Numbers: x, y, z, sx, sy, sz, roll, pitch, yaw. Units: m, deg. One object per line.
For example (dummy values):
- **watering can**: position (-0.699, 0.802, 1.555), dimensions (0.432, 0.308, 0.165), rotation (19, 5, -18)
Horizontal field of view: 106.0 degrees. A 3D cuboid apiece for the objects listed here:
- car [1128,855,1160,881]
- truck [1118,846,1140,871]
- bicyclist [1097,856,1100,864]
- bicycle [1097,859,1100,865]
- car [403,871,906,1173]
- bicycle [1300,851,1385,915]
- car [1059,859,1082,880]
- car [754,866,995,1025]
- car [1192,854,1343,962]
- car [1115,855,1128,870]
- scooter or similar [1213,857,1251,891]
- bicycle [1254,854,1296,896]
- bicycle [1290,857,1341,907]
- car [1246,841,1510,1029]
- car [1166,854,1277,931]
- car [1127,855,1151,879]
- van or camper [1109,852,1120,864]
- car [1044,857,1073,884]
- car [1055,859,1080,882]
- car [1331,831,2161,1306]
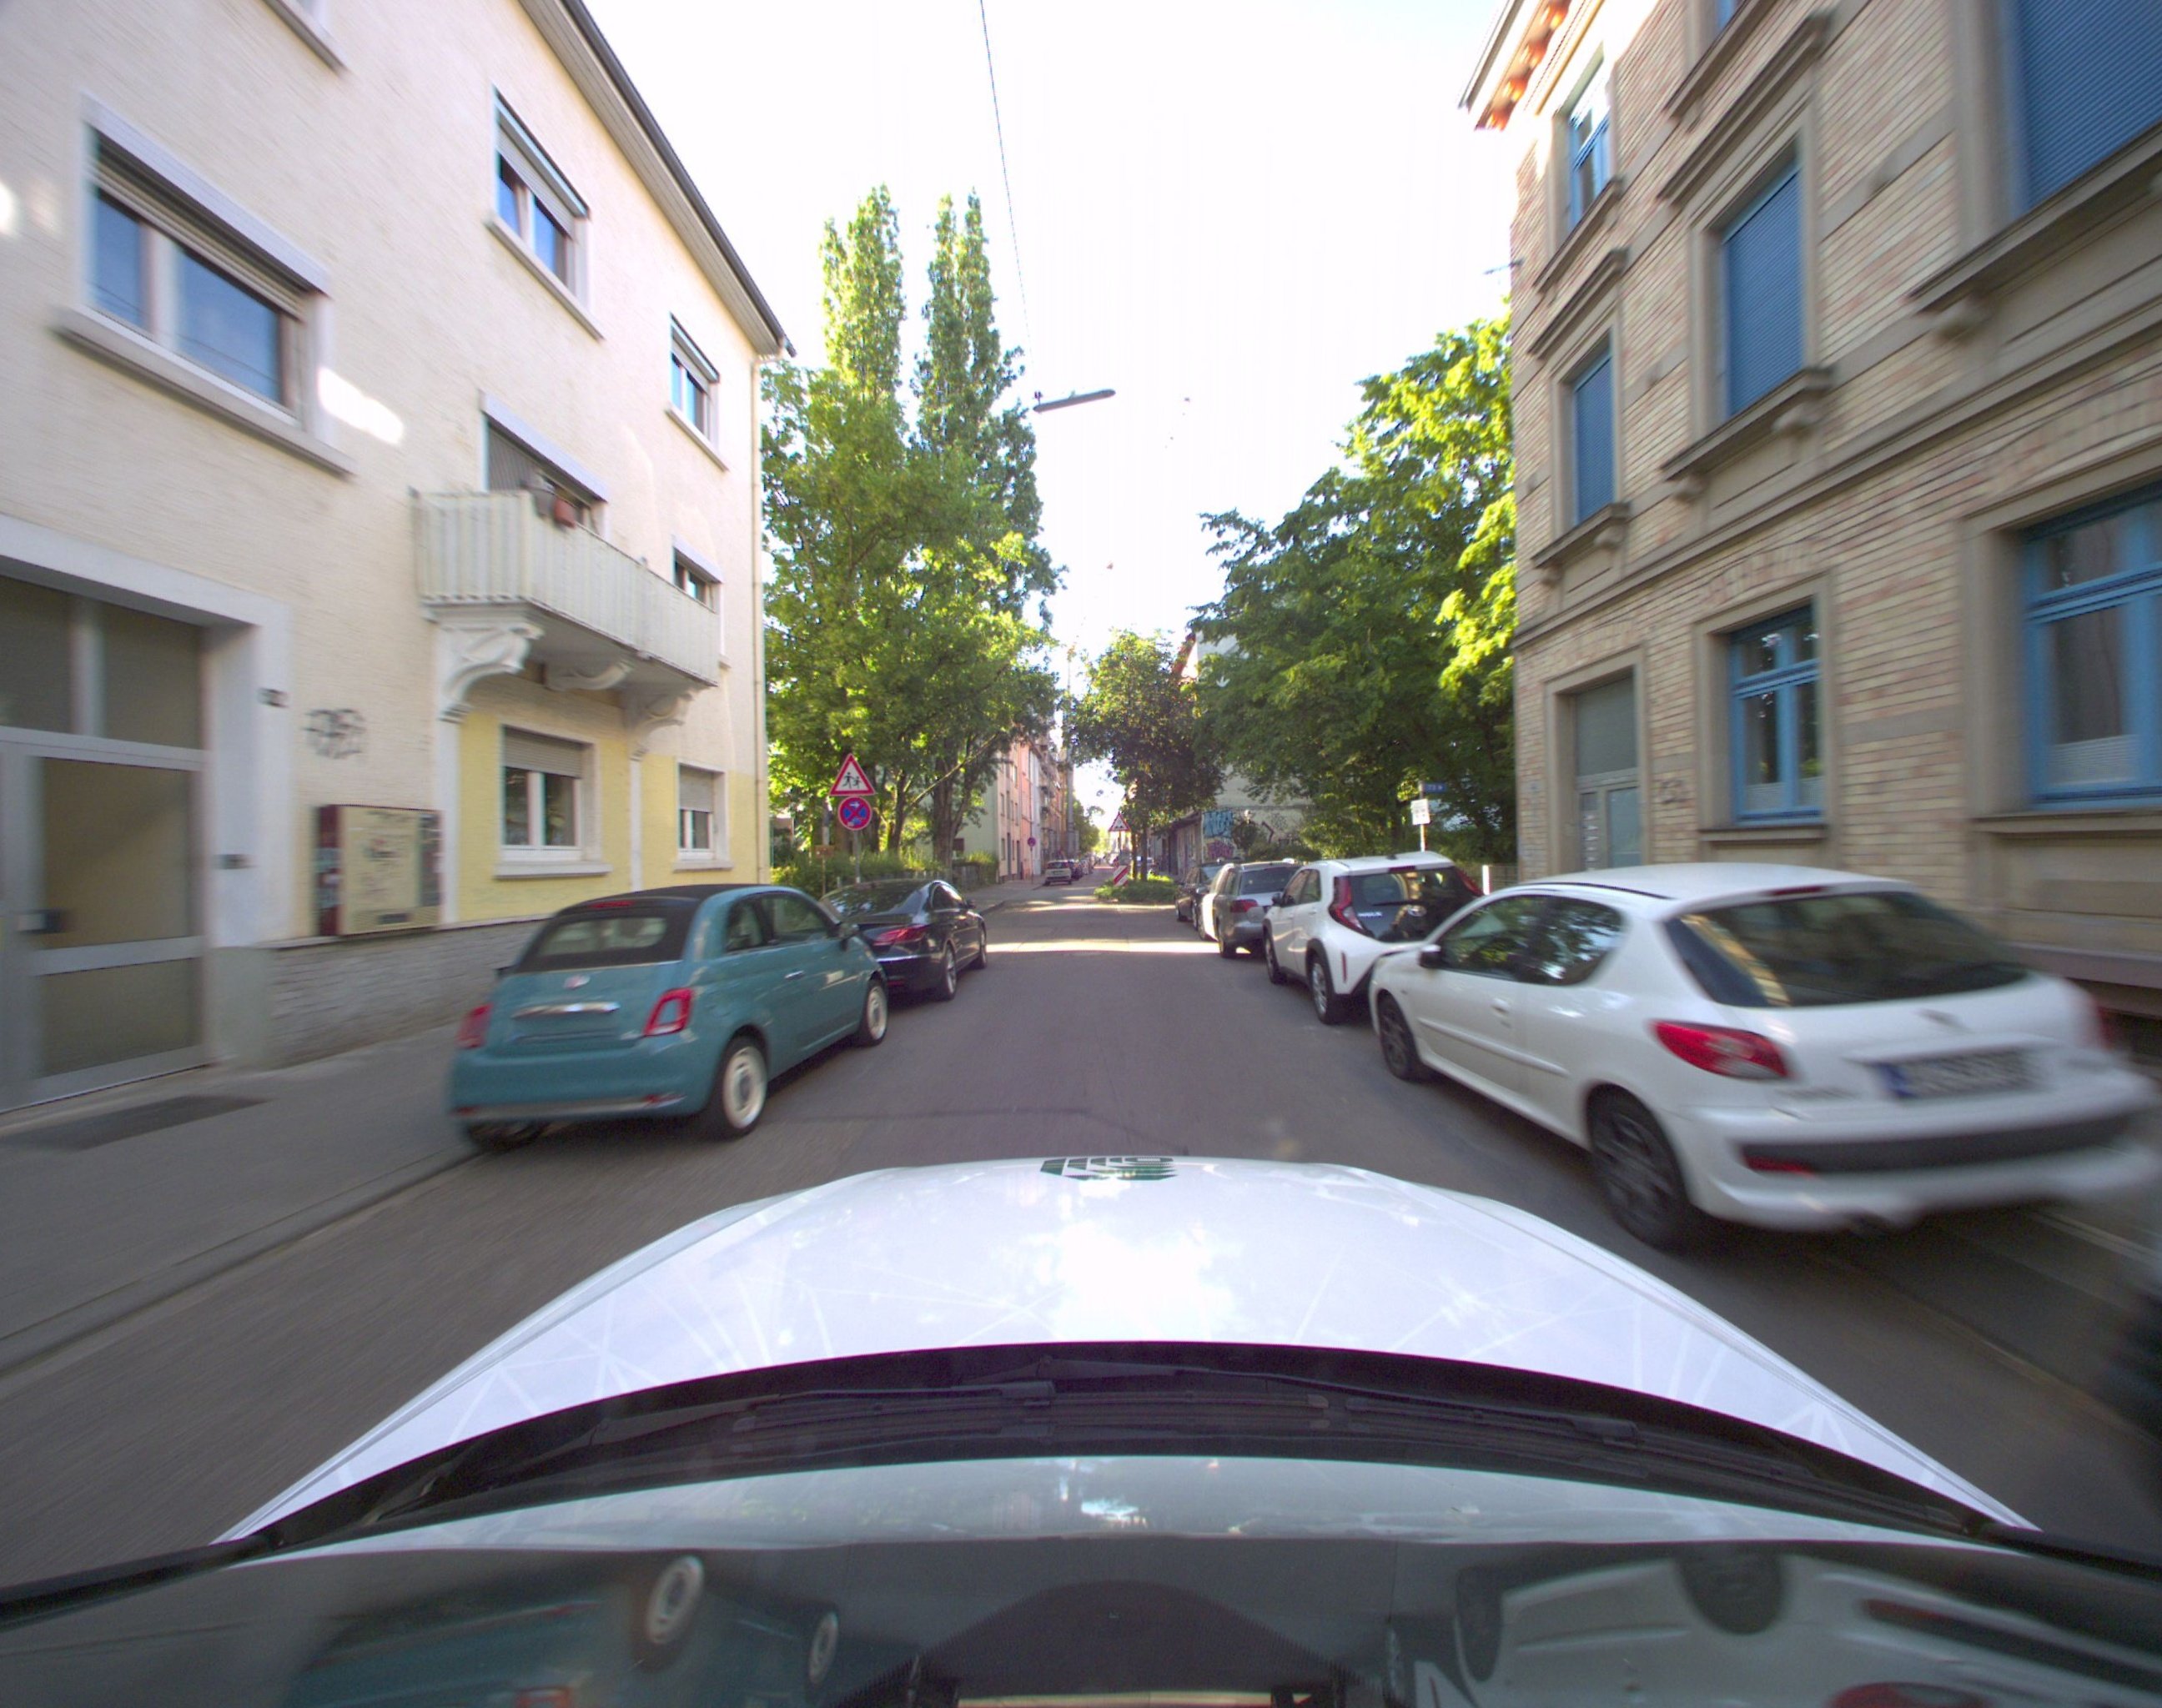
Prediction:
- **car**: position (4.052, 0.888, 53.017), dimensions (1.715, 1.562, 4.398), rotation (-2, -1, 0)
- **truck**: position (5.393, 0.479, 92.328), dimensions (2.182, 2.607, 5.234), rotation (-3, 0, 0)
- **bicyclist**: position (3.887, 1.428, 183.537), dimensions (0.727, 1.761, 0.836), rotation (-1, 0, 2)
- **bicycle**: position (3.885, 1.833, 183.387), dimensions (0.722, 1.186, 2.043), rotation (-1, 0, 2)
- **car**: position (-2.665, 0.939, 6.073), dimensions (1.586, 1.450, 3.490), rotation (-5, -1, 5)
- **bicycle**: position (5.950, 0.623, 18.734), dimensions (1.285, 1.302, 2.329), rotation (-4, 0, 4)
- **car**: position (-0.805, 1.219, 65.401), dimensions (1.669, 1.512, 4.415), rotation (-2, 0, 1)
- **car**: position (-2.324, 0.958, 10.437), dimensions (1.773, 1.443, 4.393), rotation (-4, -1, 1)
- **car**: position (2.954, 0.786, 13.812), dimensions (1.653, 1.494, 4.355), rotation (-2, 0, 2)
- **car**: position (5.715, 1.171, 115.322), dimensions (1.670, 2.031, 3.867), rotation (-2, -1, -1)
- **scooter or similar**: position (5.727, 0.760, 30.954), dimensions (0.548, 1.262, 1.459), rotation (-3, -1, -30)
- **bicycle**: position (6.368, 0.656, 26.871), dimensions (0.843, 1.267, 2.694), rotation (-2, 0, 3)
- **bicycle**: position (6.124, 0.696, 21.376), dimensions (0.843, 1.200, 1.983), rotation (-2, 0, 3)
- **car**: position (2.970, 0.715, 8.990), dimensions (1.587, 1.585, 3.765), rotation (-2, 0, 1)
- **car**: position (3.125, 0.805, 18.951), dimensions (1.716, 1.494, 4.412), rotation (-3, 0, -1)
- **car**: position (4.195, 0.915, 59.428), dimensions (1.633, 1.656, 3.871), rotation (-2, -1, 2)
- **van or camper**: position (7.461, 0.939, 181.866), dimensions (1.989, 2.508, 4.198), rotation (-3, 0, -3)
- **car**: position (-1.396, 1.016, 51.420), dimensions (1.670, 1.540, 3.867), rotation (-3, -1, -1)
- **car**: position (-0.986, 1.182, 60.400), dimensions (1.724, 1.540, 4.376), rotation (-3, -1, -1)
- **car**: position (2.926, 0.729, 4.721), dimensions (1.589, 1.450, 4.001), rotation (-4, -1, -1)
